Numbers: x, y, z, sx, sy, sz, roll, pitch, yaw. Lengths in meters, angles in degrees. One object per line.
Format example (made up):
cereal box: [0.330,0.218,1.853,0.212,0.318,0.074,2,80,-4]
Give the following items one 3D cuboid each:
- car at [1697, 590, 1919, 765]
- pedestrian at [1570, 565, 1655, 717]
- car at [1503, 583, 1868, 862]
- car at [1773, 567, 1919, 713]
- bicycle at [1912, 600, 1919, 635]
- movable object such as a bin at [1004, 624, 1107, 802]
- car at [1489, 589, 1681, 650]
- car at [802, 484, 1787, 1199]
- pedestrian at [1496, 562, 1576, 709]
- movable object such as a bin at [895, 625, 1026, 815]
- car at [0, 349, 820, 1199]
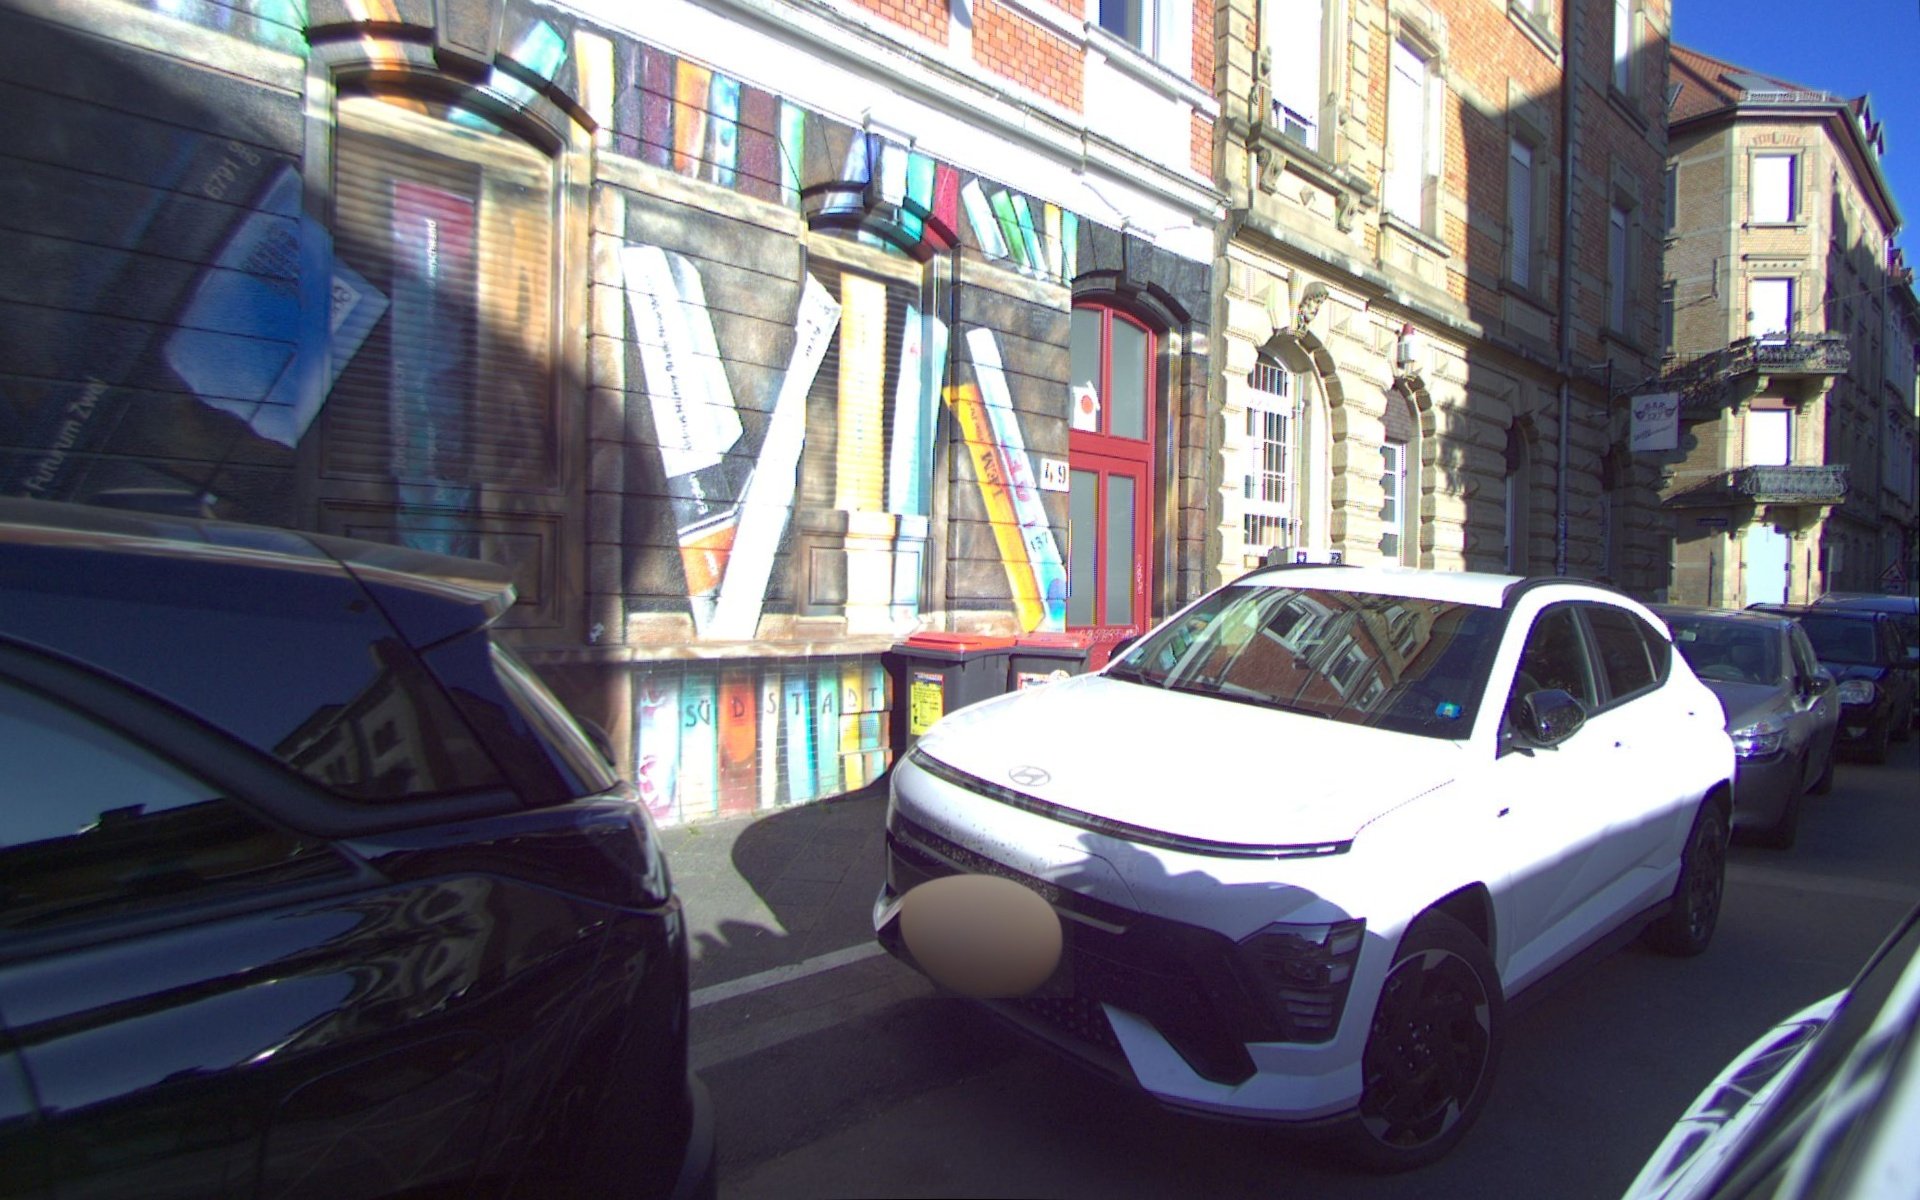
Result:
car: [9.289,0.689,10.870,3.619,1.532,1.537,0,1,-43]
pedestrian: [7.283,0.433,11.290,0.715,1.624,0.591,1,1,-43]
car: [5.543,0.693,7.536,3.844,1.545,1.572,0,-2,-45]
car: [12.532,0.468,13.787,3.871,1.735,1.705,0,1,-43]
bicycle: [37.610,0.685,39.263,1.662,1.319,0.729,0,3,-41]
movable object such as a bin: [0.650,0.728,6.802,0.542,1.065,0.601,3,2,16]
car: [17.159,0.479,27.927,4.241,1.489,1.741,2,1,44]
car: [1.636,0.622,4.018,4.140,1.711,1.811,-1,-1,-40]
pedestrian: [6.716,0.398,11.800,0.722,1.642,0.575,1,1,-43]
movable object such as a bin: [0.005,0.725,6.405,0.546,1.065,0.596,4,3,35]
car: [-2.192,0.613,0.738,3.856,1.663,1.690,0,0,-41]
